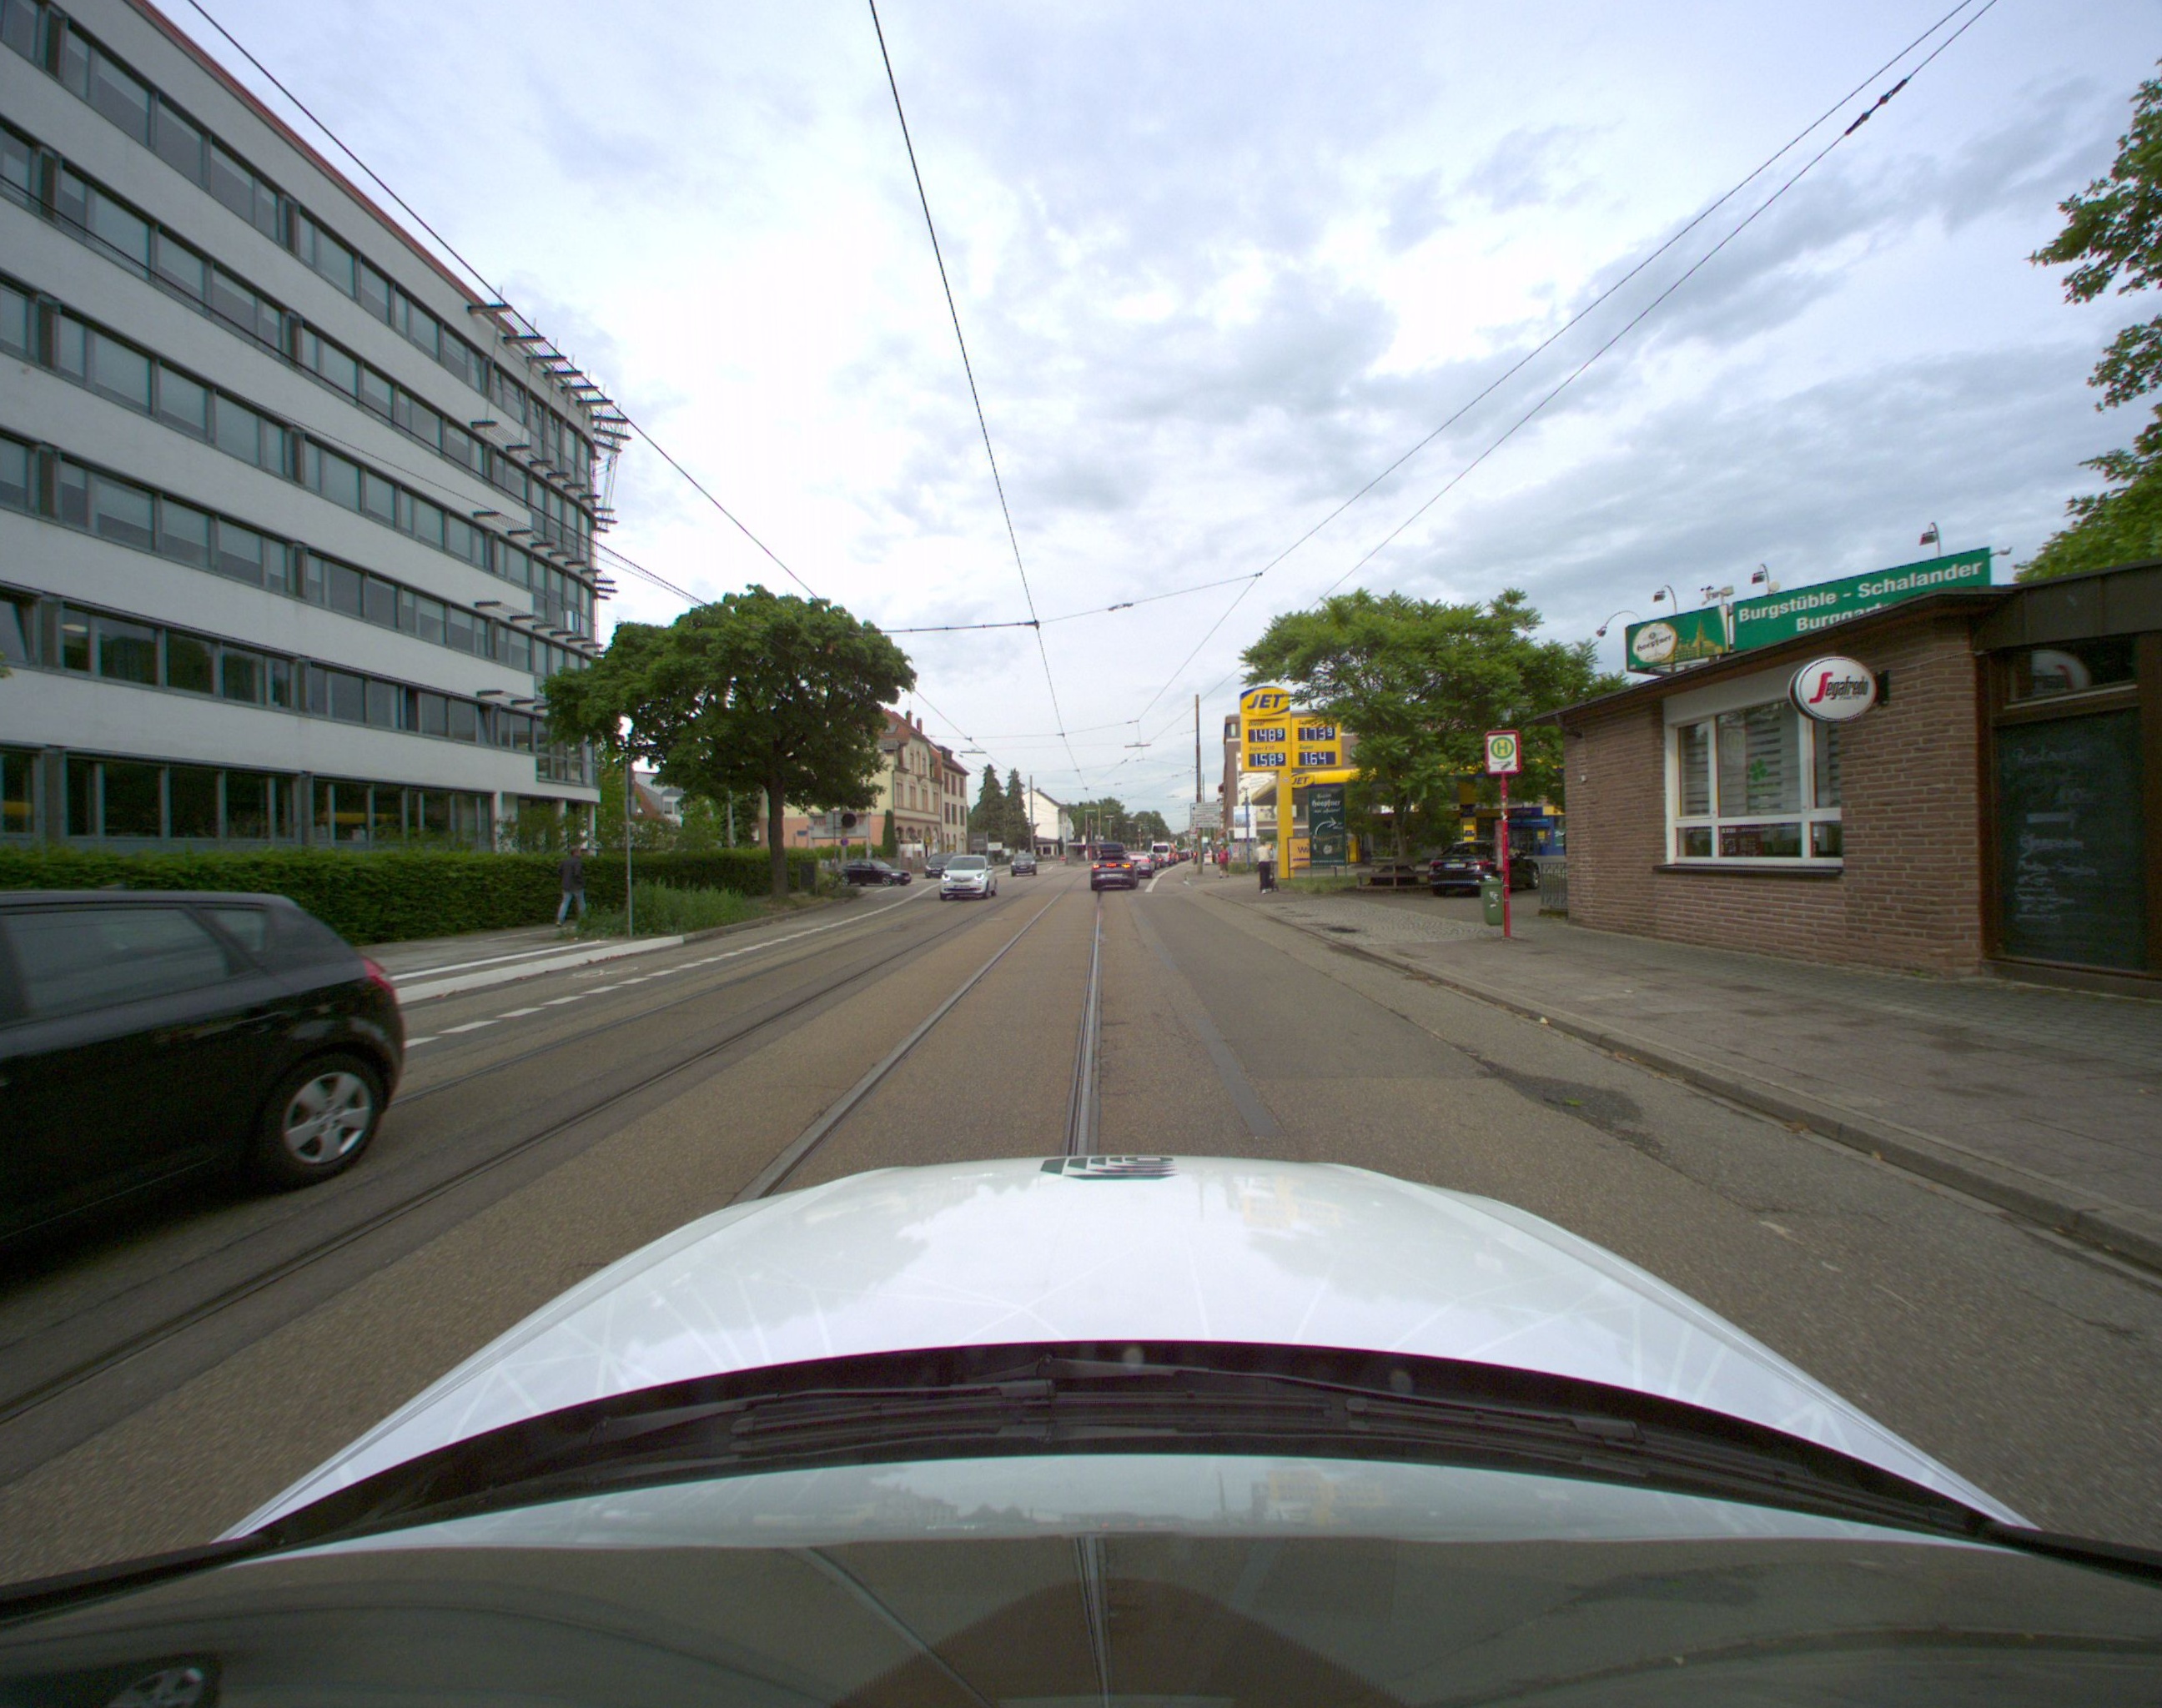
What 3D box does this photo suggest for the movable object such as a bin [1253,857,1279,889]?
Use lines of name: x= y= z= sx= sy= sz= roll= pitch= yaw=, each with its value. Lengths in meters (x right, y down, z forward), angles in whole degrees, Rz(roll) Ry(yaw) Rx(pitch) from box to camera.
movable object such as a bin: x=6.360 y=0.637 z=27.980 sx=0.762 sy=1.039 sz=1.028 roll=-4 pitch=-1 yaw=16

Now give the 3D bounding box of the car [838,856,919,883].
car: x=-10.846 y=0.842 z=43.668 sx=3.885 sy=1.388 sz=1.812 roll=-1 pitch=0 yaw=22

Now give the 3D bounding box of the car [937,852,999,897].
car: x=-4.025 y=0.711 z=29.518 sx=1.698 sy=1.530 sz=3.742 roll=-1 pitch=0 yaw=0

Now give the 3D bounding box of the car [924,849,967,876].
car: x=-9.966 y=0.642 z=60.162 sx=1.983 sy=1.887 sz=5.004 roll=0 pitch=0 yaw=5

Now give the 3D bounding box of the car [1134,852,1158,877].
car: x=5.496 y=0.867 z=69.296 sx=1.985 sy=2.014 sz=4.004 roll=0 pitch=-1 yaw=4

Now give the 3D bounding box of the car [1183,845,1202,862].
car: x=12.446 y=-0.072 z=91.282 sx=1.866 sy=1.823 sz=4.101 roll=0 pitch=0 yaw=5

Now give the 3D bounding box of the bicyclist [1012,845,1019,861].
bicyclist: x=-7.501 y=-0.132 z=93.040 sx=0.735 sy=1.749 sz=0.976 roll=-2 pitch=0 yaw=-9

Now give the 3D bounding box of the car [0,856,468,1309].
car: x=-4.536 y=0.821 z=2.727 sx=1.741 sy=1.486 sz=4.065 roll=-2 pitch=1 yaw=2

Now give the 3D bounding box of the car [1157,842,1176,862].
car: x=9.696 y=-0.187 z=92.533 sx=2.129 sy=2.145 sz=4.750 roll=0 pitch=0 yaw=5

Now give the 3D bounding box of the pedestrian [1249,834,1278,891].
pedestrian: x=6.099 y=0.273 z=27.148 sx=0.762 sy=1.797 sz=1.167 roll=-3 pitch=-1 yaw=16

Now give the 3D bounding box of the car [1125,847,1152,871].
car: x=4.263 y=0.354 z=60.970 sx=1.960 sy=1.756 sz=3.841 roll=0 pitch=0 yaw=3

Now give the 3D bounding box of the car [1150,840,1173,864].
car: x=8.206 y=-0.183 z=83.041 sx=2.206 sy=2.423 sz=4.956 roll=0 pitch=-1 yaw=4

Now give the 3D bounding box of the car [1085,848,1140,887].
car: x=1.397 y=0.548 z=34.233 sx=1.980 sy=1.497 sz=4.333 roll=-2 pitch=-1 yaw=6

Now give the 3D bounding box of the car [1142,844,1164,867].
car: x=6.660 y=0.153 z=75.223 sx=1.984 sy=2.014 sz=4.006 roll=0 pitch=-1 yaw=5

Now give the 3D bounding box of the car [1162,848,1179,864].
car: x=11.921 y=0.257 z=109.061 sx=1.986 sy=2.014 sz=4.001 roll=0 pitch=-1 yaw=2

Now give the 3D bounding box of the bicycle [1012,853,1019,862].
bicycle: x=-7.481 y=0.389 z=93.050 sx=0.586 sy=1.074 sz=1.951 roll=-2 pitch=0 yaw=-8

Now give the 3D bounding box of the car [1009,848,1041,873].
car: x=-4.055 y=0.465 z=59.258 sx=1.820 sy=1.737 sz=4.337 roll=-2 pitch=0 yaw=2

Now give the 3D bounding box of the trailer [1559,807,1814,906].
trailer: x=10.279 y=0.046 z=14.007 sx=3.149 sy=1.539 sz=1.622 roll=-1 pitch=-1 yaw=2

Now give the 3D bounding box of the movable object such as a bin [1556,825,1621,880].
movable object such as a bin: x=15.007 y=-0.060 z=24.091 sx=1.404 sy=1.514 sz=1.131 roll=0 pitch=4 yaw=43

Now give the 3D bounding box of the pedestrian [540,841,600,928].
pedestrian: x=-12.082 y=0.703 z=19.284 sx=0.706 sy=2.014 sz=0.993 roll=0 pitch=-1 yaw=8

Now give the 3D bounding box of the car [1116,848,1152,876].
car: x=3.066 y=0.455 z=47.709 sx=1.974 sy=1.550 sz=4.185 roll=0 pitch=0 yaw=2

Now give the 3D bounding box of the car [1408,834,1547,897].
car: x=10.748 y=0.258 z=21.895 sx=4.612 sy=1.407 sz=1.911 roll=-3 pitch=1 yaw=-45

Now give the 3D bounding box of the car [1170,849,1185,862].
car: x=14.318 y=0.235 z=121.108 sx=1.986 sy=2.014 sz=4.001 roll=0 pitch=-1 yaw=2

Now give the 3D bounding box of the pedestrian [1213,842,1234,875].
pedestrian: x=7.719 y=0.230 z=44.195 sx=0.967 sy=1.738 sz=0.862 roll=-3 pitch=-1 yaw=4
